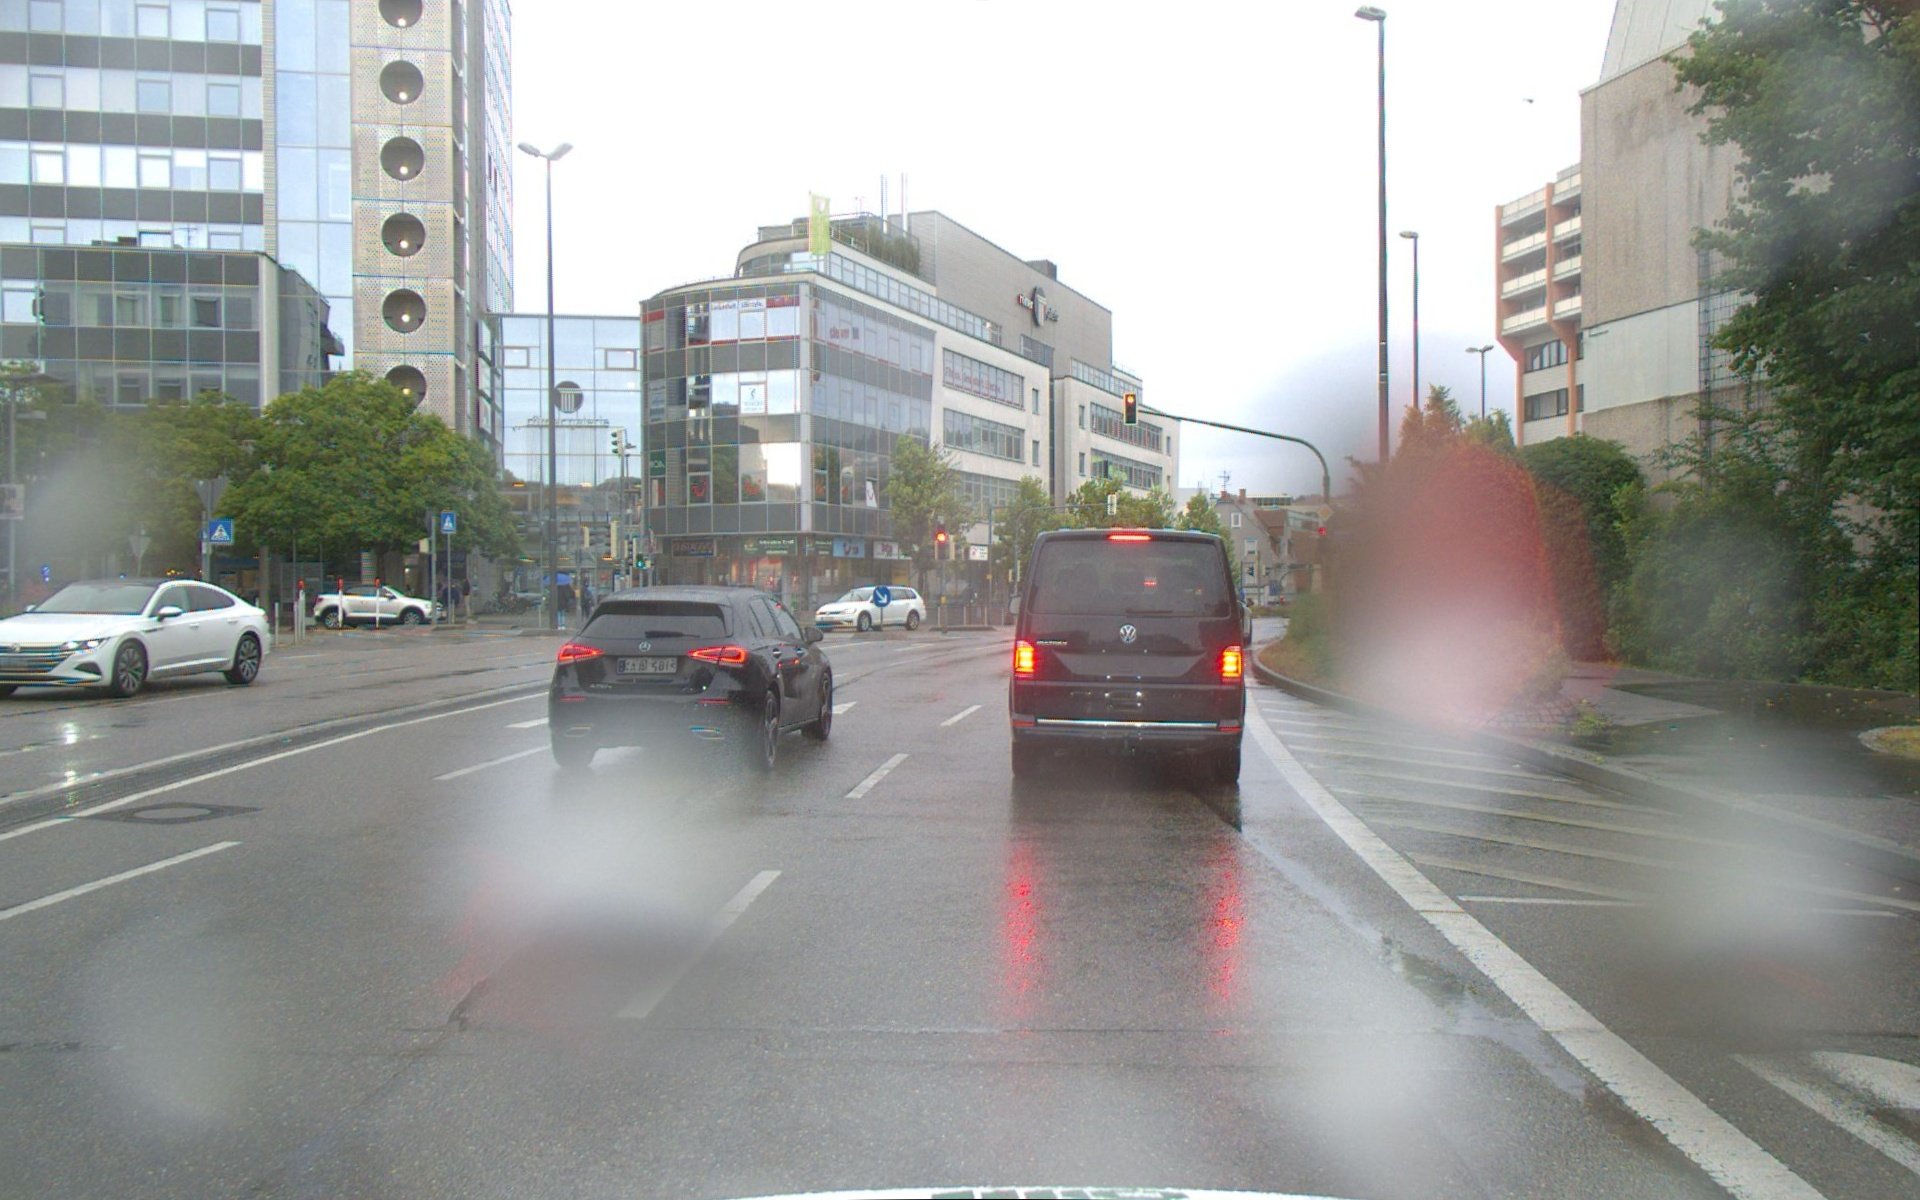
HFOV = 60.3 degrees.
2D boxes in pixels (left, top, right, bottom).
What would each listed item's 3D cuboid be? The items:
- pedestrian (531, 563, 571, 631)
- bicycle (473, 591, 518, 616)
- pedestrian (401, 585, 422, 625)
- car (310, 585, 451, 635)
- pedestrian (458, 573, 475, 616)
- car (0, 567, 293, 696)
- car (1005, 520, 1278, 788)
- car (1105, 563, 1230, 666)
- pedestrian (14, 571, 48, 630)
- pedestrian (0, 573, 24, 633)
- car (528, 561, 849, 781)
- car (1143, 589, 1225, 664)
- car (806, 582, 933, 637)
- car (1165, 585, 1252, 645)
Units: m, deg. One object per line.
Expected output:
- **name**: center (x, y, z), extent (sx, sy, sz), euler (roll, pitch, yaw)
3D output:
- **pedestrian**: center (-12.571, -0.099, 50.854), extent (1.143, 2.049, 1.322), euler (0, 0, -17)
- **bicycle**: center (-24.264, 0.177, 86.393), extent (2.233, 1.268, 0.675), euler (-1, 0, -12)
- **pedestrian**: center (-26.233, 0.228, 79.069), extent (0.745, 1.900, 0.822), euler (-1, 0, -37)
- **car**: center (-19.519, 0.318, 55.818), extent (4.109, 1.623, 1.869), euler (1, 0, -4)
- **pedestrian**: center (-23.990, -0.271, 80.362), extent (0.749, 2.049, 0.712), euler (0, 0, -13)
- **car**: center (-10.728, 0.336, 21.599), extent (1.803, 1.486, 4.811), euler (0, 0, 4)
- **car**: center (1.541, 0.381, 14.321), extent (1.953, 1.927, 4.590), euler (1, 0, 6)
- **car**: center (3.687, 0.212, 28.847), extent (1.860, 1.649, 4.339), euler (0, 1, 11)
- **pedestrian**: center (-21.991, 0.012, 39.150), extent (0.486, 1.371, 0.536), euler (0, 0, 26)
- **pedestrian**: center (-22.264, 0.065, 38.607), extent (0.486, 1.371, 0.537), euler (0, 1, 24)
- **car**: center (-2.184, 0.489, 14.375), extent (1.777, 1.556, 3.816), euler (2, 2, 6)
- **car**: center (4.812, 0.519, 35.186), extent (1.599, 1.473, 4.272), euler (1, 0, 9)
- **car**: center (-2.945, 0.283, 54.640), extent (1.853, 1.712, 4.491), euler (1, 0, 34)
- **car**: center (6.269, 0.342, 41.472), extent (1.871, 1.425, 3.461), euler (0, 0, 13)
